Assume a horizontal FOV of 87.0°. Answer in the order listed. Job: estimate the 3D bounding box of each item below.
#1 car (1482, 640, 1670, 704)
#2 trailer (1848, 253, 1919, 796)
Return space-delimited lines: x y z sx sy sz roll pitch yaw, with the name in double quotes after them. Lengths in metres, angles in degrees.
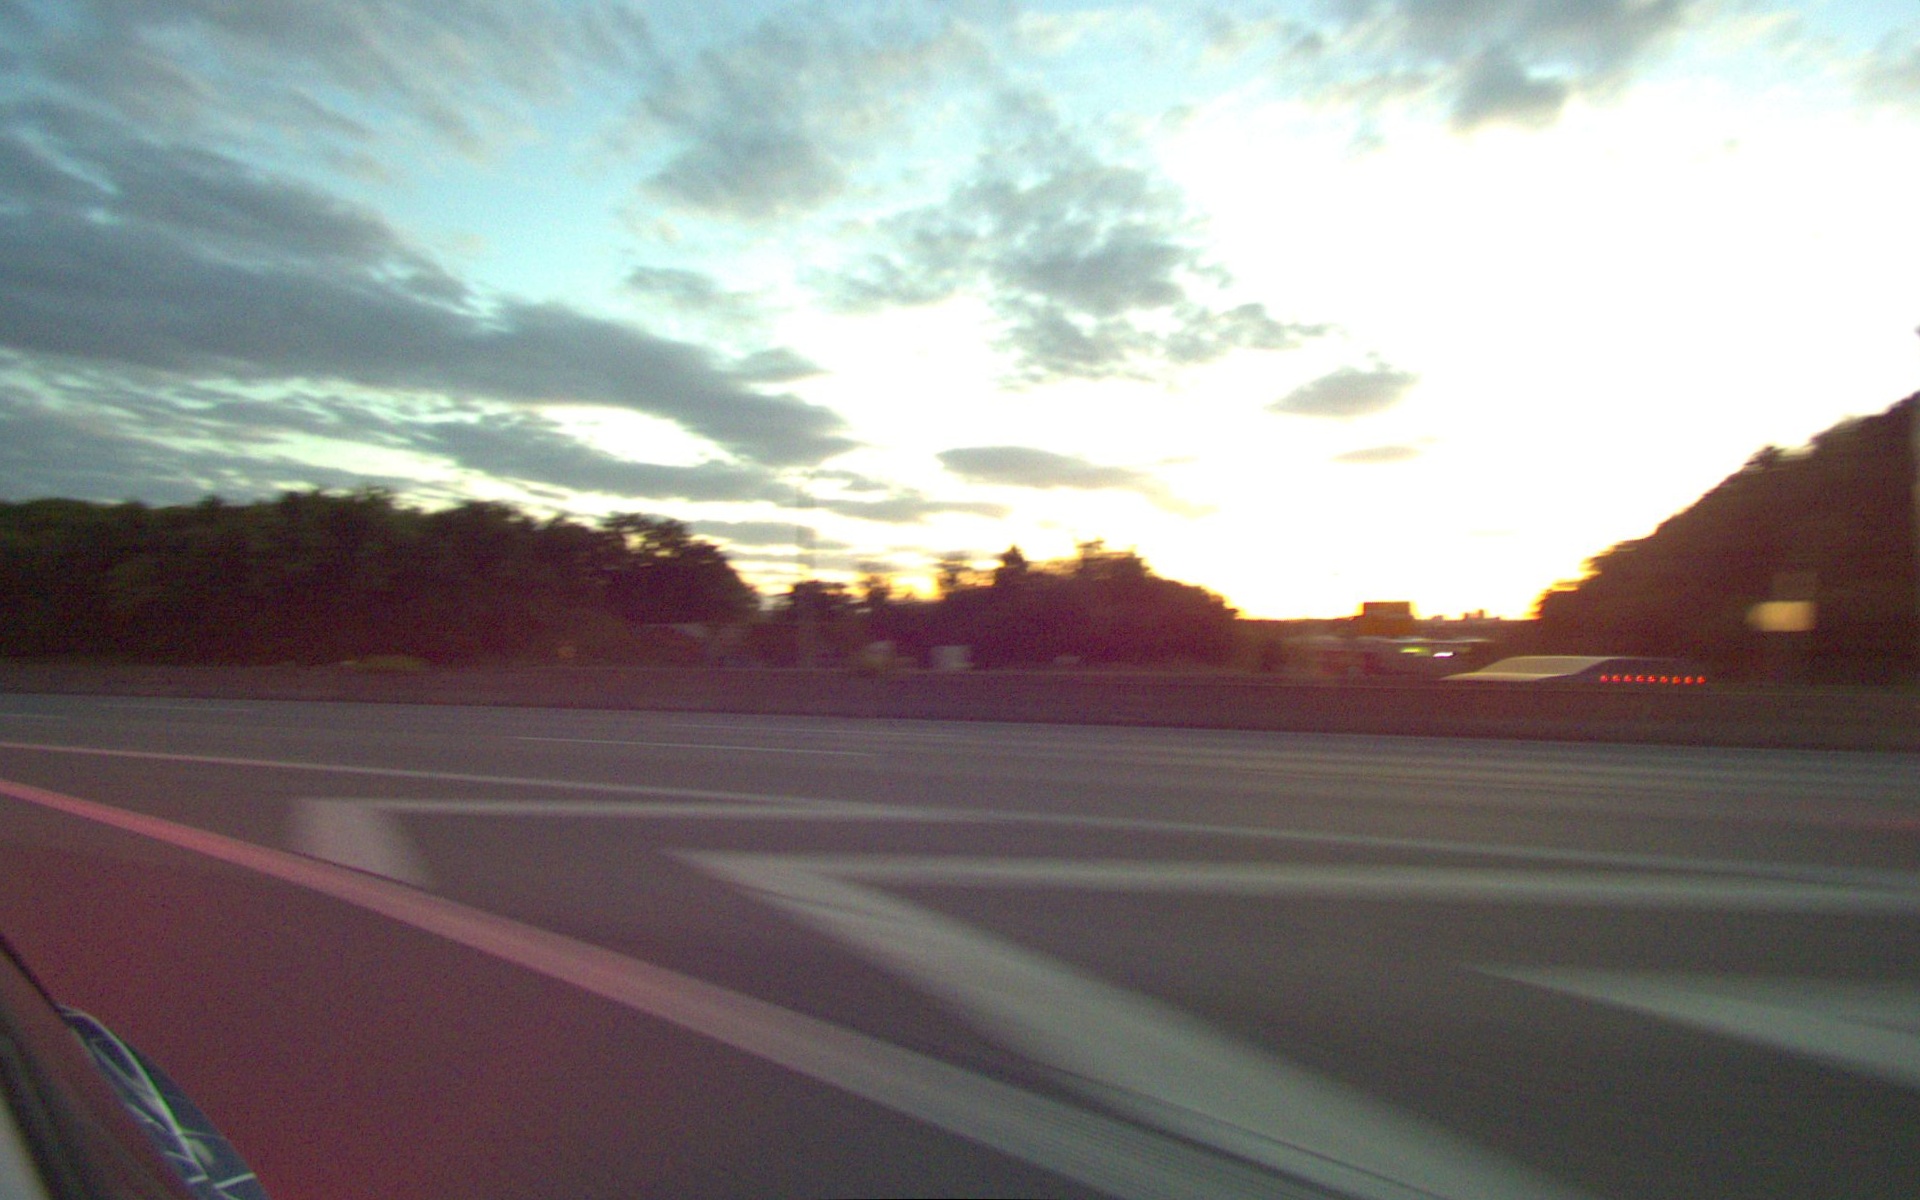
16.495 1.923 27.363 3.971 1.523 1.986 -2 0 21 "car"
13.627 -0.744 4.097 14.723 3.945 2.761 -2 -4 23 "trailer"
